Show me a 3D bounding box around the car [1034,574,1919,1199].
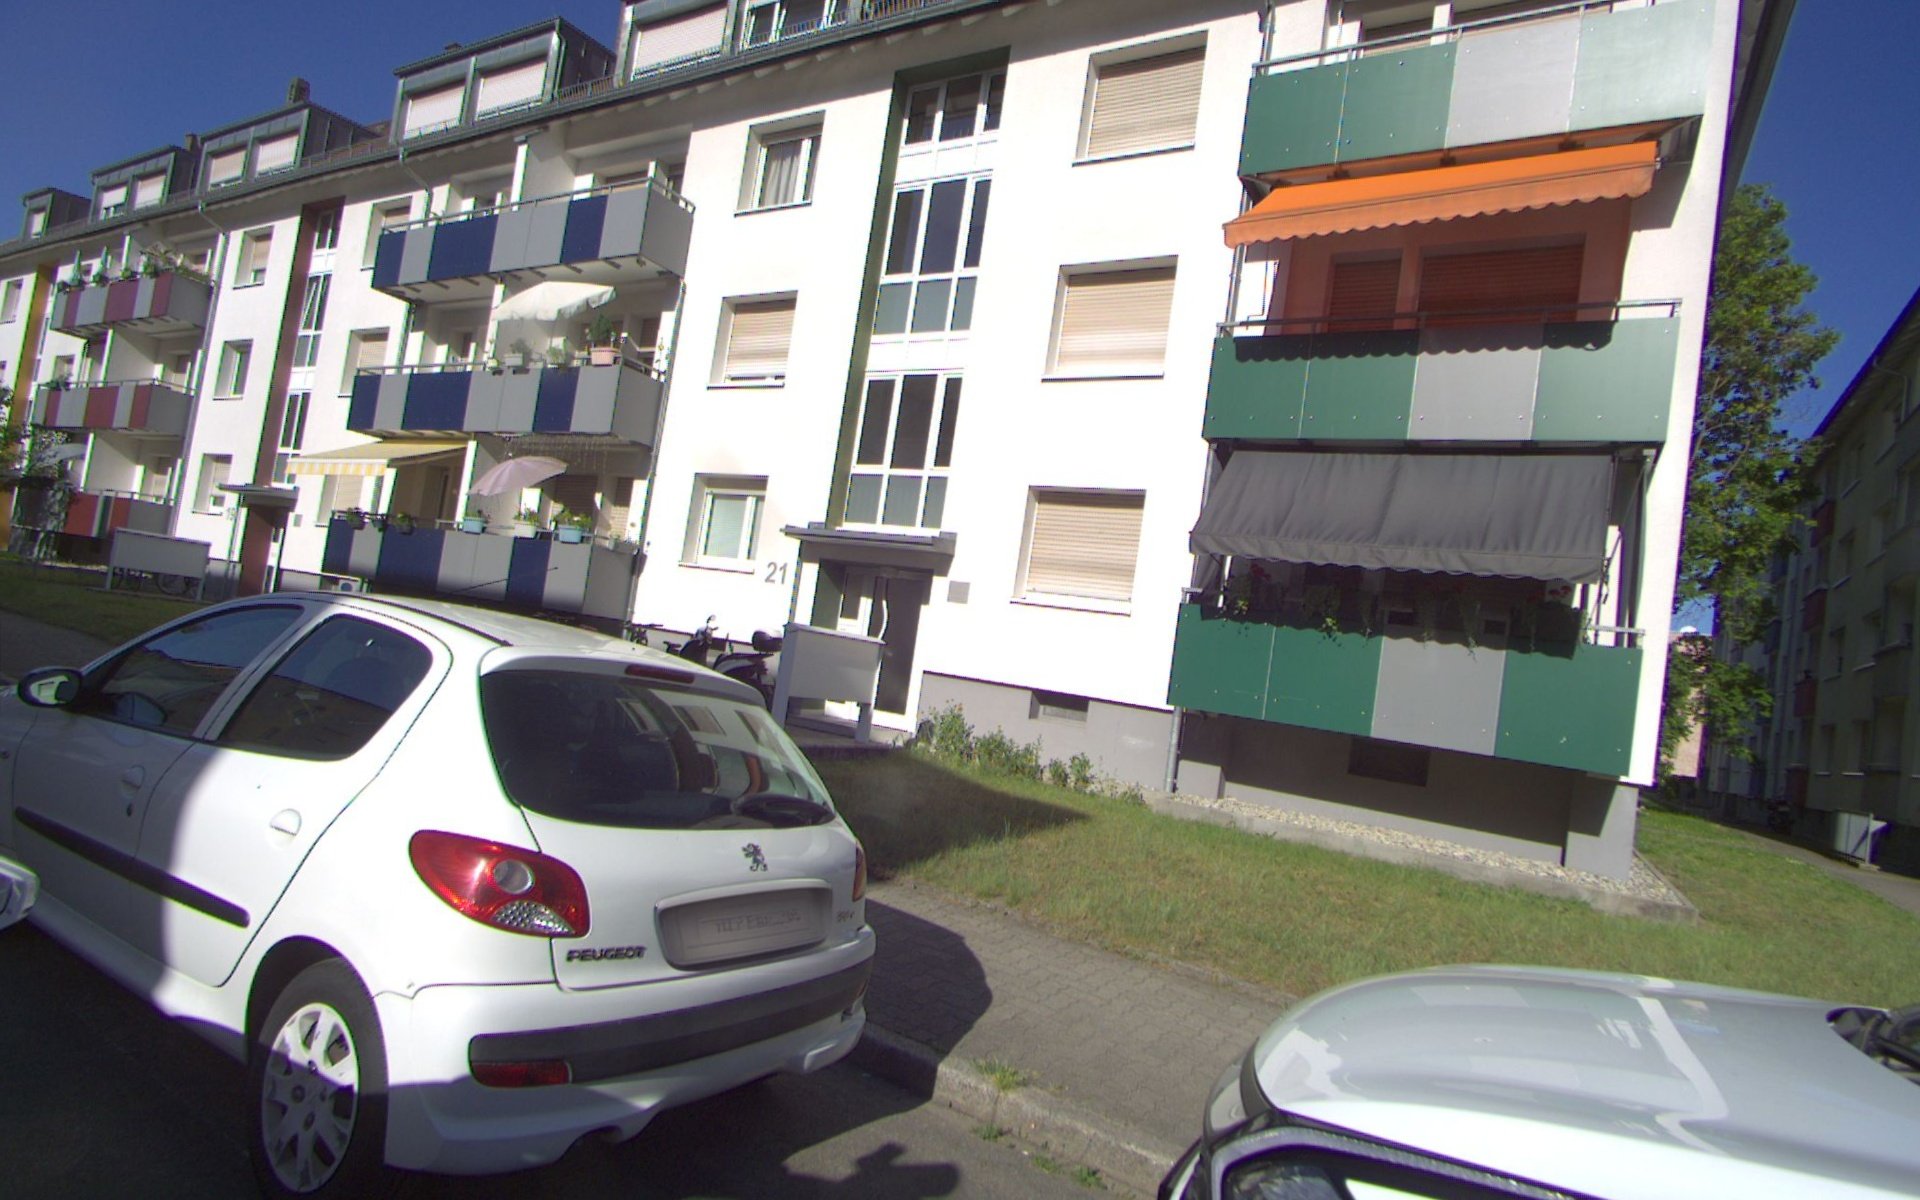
[{"bbox_3d":[2.454,1.124,0.912,4.505,1.608,1.807,7,-5,31],"label":"car"}]

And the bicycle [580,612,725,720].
[{"bbox_3d":[-4.023,0.851,13.125,1.841,1.128,0.598,7,-2,31],"label":"bicycle"}]

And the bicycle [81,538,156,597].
[{"bbox_3d":[-18.557,-0.734,22.167,2.250,1.061,0.521,7,-1,32],"label":"bicycle"}]

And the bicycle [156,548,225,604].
[{"bbox_3d":[-17.780,-0.564,23.225,1.942,1.048,0.521,7,-2,32],"label":"bicycle"}]

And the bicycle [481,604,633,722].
[{"bbox_3d":[-4.788,0.727,11.905,1.841,1.133,0.545,7,-1,31],"label":"bicycle"}]

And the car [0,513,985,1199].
[{"bbox_3d":[-2.157,0.655,3.698,4.029,1.432,1.698,7,-6,31],"label":"car"}]

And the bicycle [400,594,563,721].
[{"bbox_3d":[-5.301,0.620,11.107,1.841,1.145,0.578,7,-1,31],"label":"bicycle"}]

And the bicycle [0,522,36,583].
[{"bbox_3d":[-20.270,-1.121,20.119,0.866,1.142,2.426,7,-3,37],"label":"bicycle"}]

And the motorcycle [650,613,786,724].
[{"bbox_3d":[-3.360,0.932,13.888,1.944,1.252,0.442,7,-2,32],"label":"motorcycle"}]

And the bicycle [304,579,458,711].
[{"bbox_3d":[-6.283,0.473,10.886,1.842,1.184,0.545,7,-1,33],"label":"bicycle"}]

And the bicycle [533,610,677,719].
[{"bbox_3d":[-4.444,0.788,12.533,1.841,1.095,0.539,7,0,31],"label":"bicycle"}]
